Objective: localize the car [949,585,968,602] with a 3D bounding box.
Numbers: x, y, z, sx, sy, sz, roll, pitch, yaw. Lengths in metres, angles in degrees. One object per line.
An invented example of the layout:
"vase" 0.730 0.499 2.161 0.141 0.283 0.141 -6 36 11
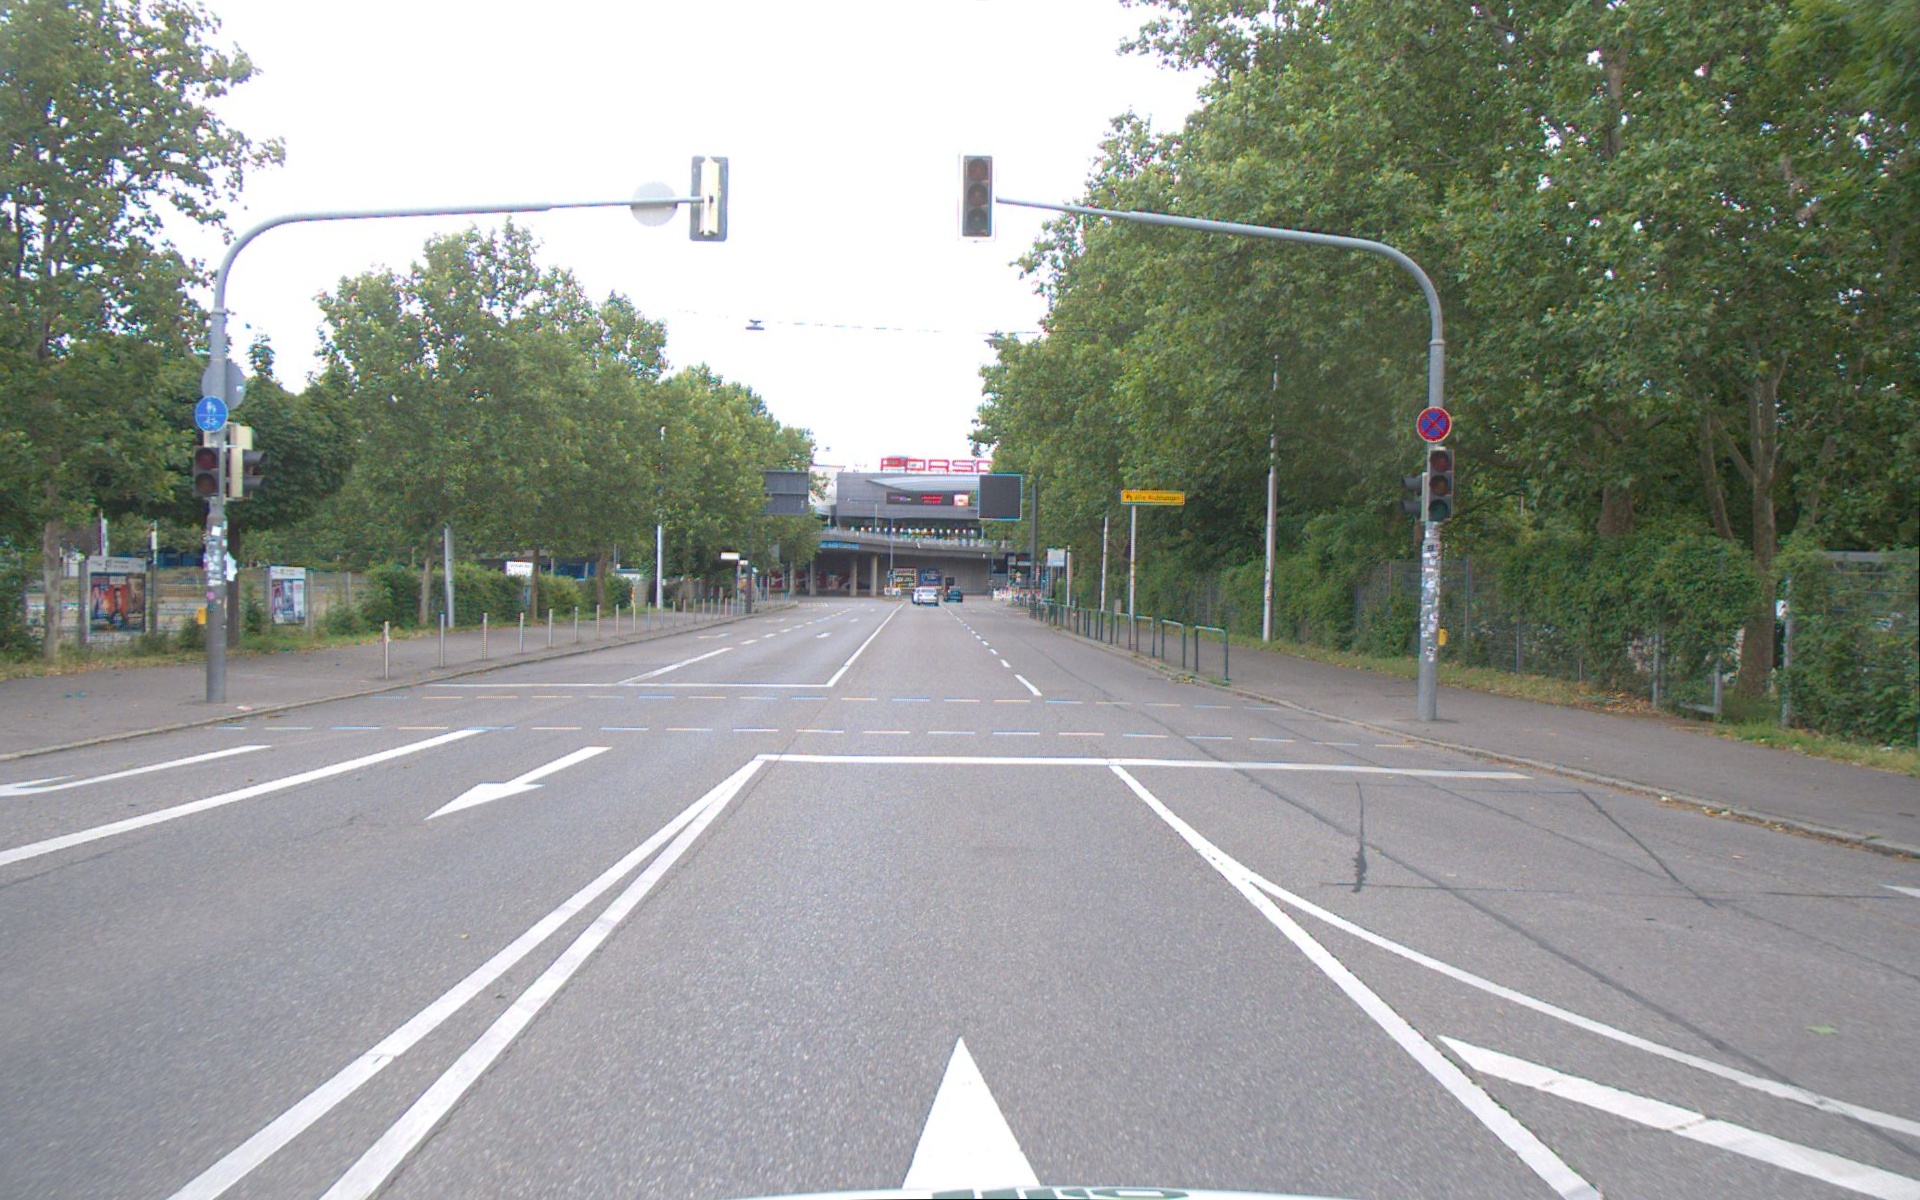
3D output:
"car" -0.189 -0.691 177.024 1.966 1.728 4.069 2 1 0

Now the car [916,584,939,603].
"car" -2.729 -0.525 139.068 1.742 1.485 3.822 3 1 0

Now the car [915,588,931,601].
"car" -3.307 -0.507 148.638 1.382 1.132 3.037 2 1 -1
